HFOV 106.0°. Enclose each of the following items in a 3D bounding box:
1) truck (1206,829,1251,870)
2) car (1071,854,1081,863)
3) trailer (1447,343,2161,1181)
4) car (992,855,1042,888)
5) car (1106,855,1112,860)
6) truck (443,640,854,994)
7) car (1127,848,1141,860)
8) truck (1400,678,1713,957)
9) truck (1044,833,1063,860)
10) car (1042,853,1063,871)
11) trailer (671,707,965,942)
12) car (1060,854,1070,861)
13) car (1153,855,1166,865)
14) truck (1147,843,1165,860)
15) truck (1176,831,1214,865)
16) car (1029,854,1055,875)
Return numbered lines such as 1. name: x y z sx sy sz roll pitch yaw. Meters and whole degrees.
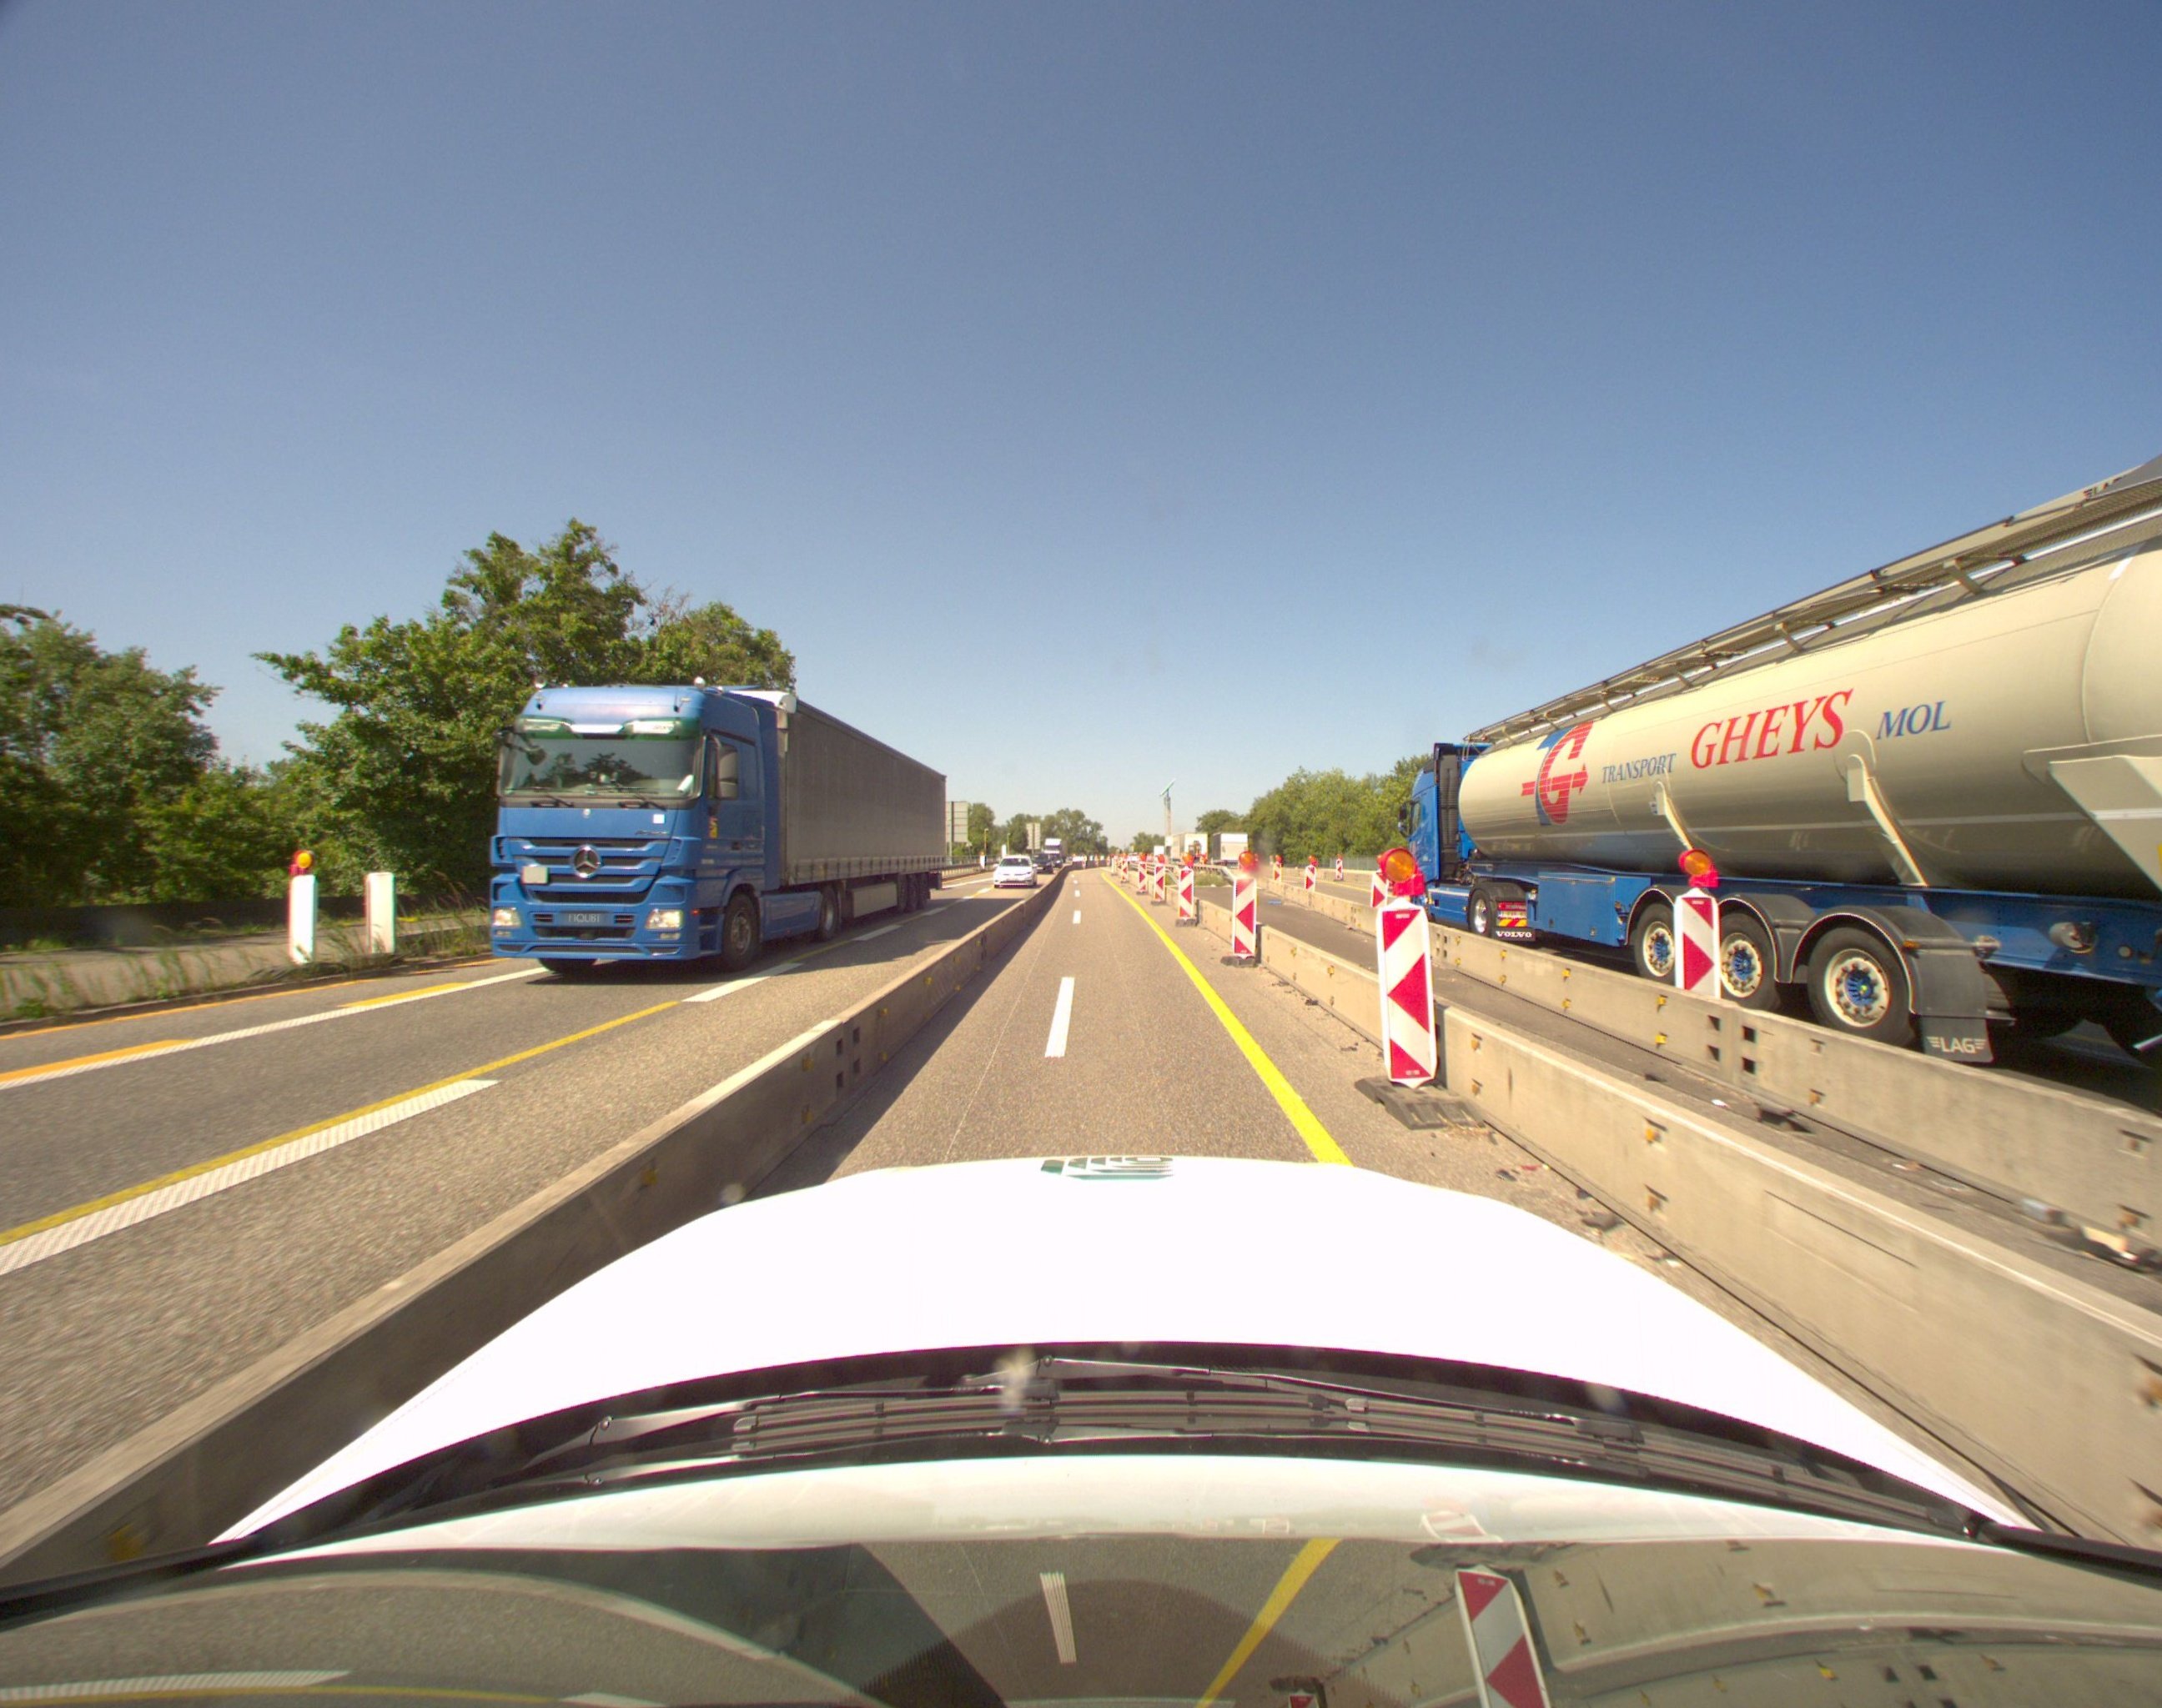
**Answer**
1. truck: 12.930 -0.406 71.825 2.625 3.427 7.232 -1 0 0
2. car: -0.981 0.810 153.026 1.784 1.568 3.872 0 0 0
3. trailer: 7.519 -0.449 9.418 2.678 4.137 12.645 -1 0 9
4. car: -2.879 0.749 37.234 1.807 1.417 4.155 0 0 2
5. car: 8.802 0.951 252.219 1.730 1.476 4.648 0 0 3
6. truck: -5.752 -0.433 12.250 2.804 3.990 5.987 -1 0 1
7. car: 7.989 0.070 122.558 1.810 1.776 4.000 -1 0 0
8. truck: 8.477 -0.519 15.774 2.678 4.102 7.318 -1 0 9
9. truck: -4.447 -1.182 133.441 2.740 4.136 6.416 -1 0 1
10. car: -2.738 0.745 78.922 1.856 1.632 4.566 0 0 1
11. trailer: -5.525 -0.540 20.875 2.793 4.042 13.472 -1 0 2
12. car: -3.405 0.783 170.086 1.925 1.508 4.470 0 0 1
13. car: 14.561 1.171 151.111 1.987 1.776 4.000 -1 0 0
14. truck: 19.688 -0.611 214.013 4.203 4.266 10.246 -1 0 2
15. truck: 12.973 -0.662 93.378 3.377 3.774 7.232 -1 0 0
16. car: -2.897 0.743 61.086 1.732 1.552 3.942 0 0 0
